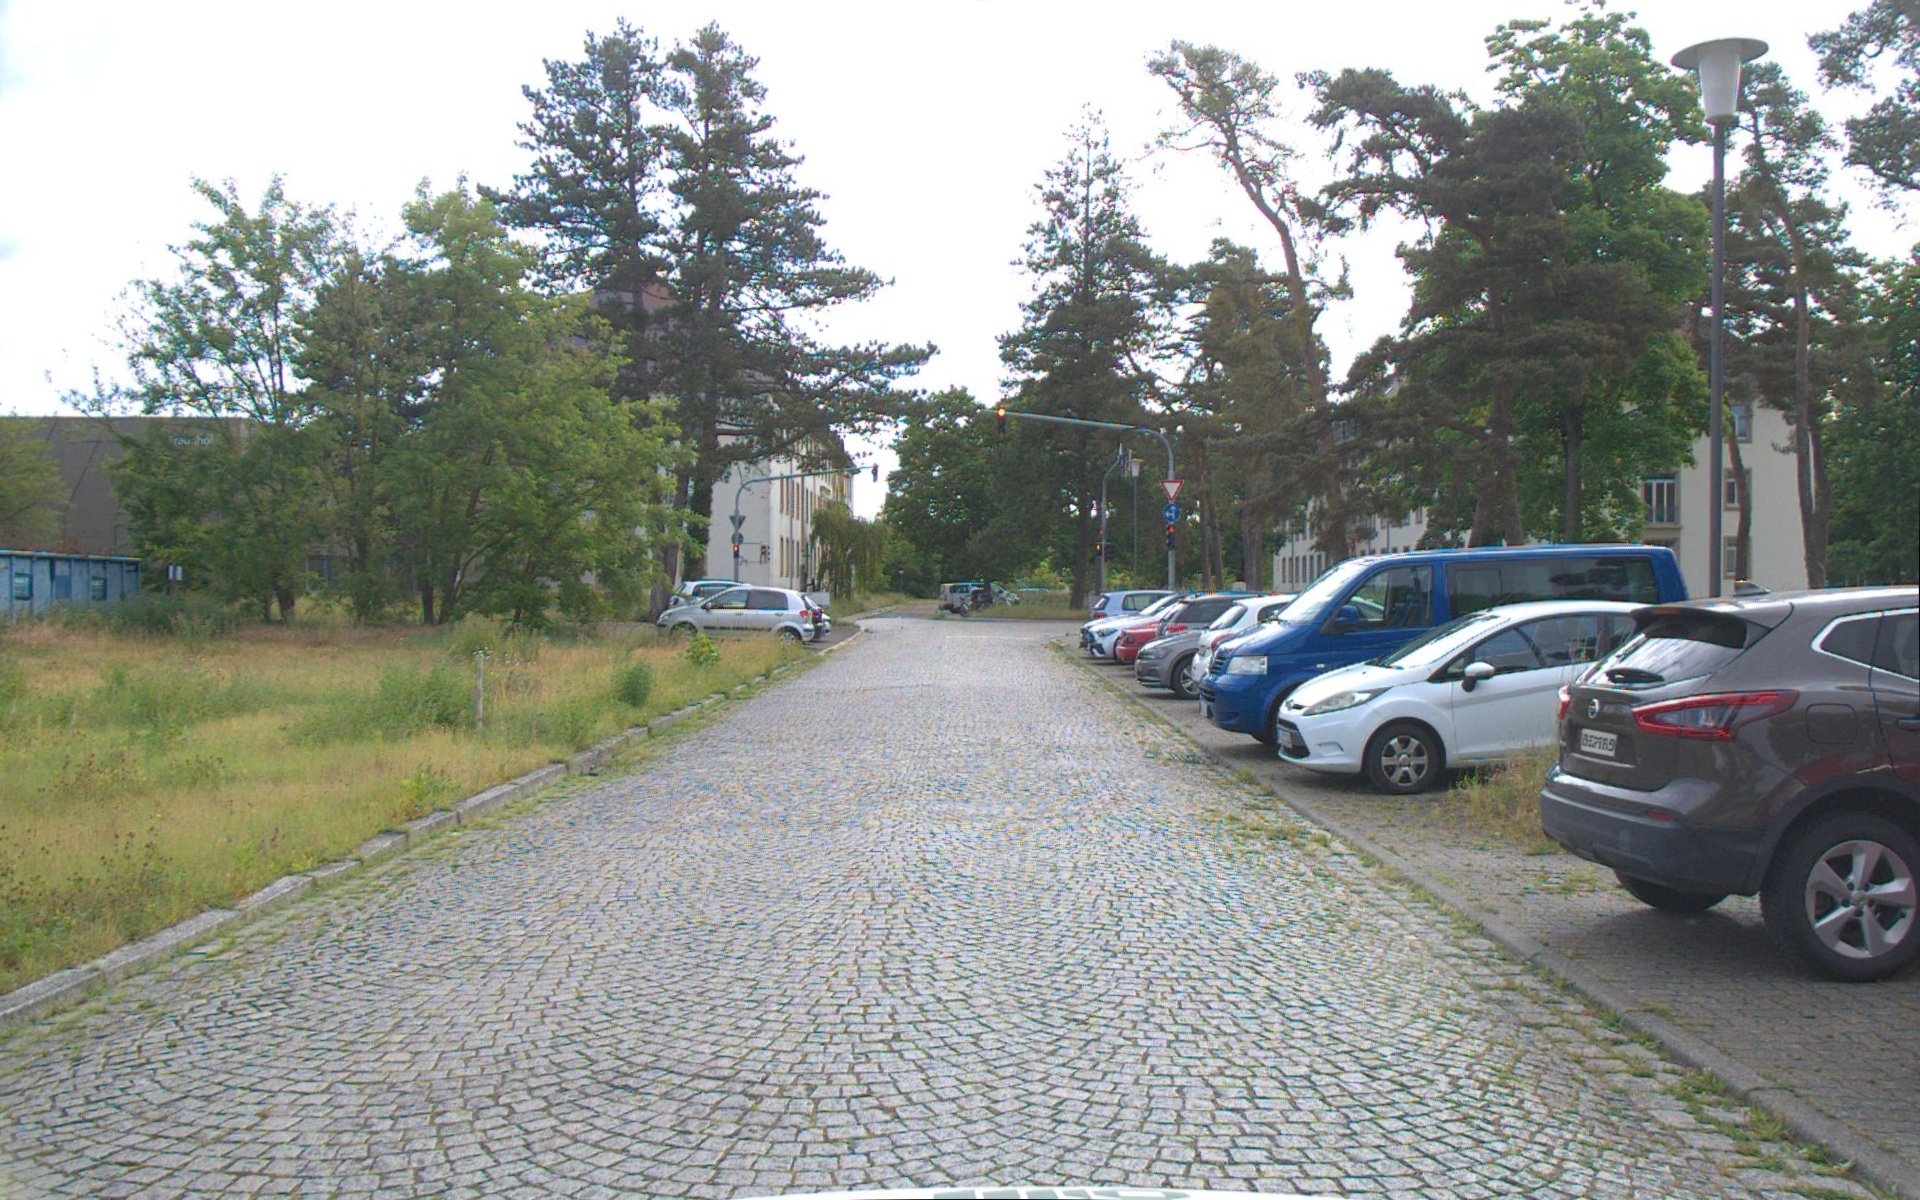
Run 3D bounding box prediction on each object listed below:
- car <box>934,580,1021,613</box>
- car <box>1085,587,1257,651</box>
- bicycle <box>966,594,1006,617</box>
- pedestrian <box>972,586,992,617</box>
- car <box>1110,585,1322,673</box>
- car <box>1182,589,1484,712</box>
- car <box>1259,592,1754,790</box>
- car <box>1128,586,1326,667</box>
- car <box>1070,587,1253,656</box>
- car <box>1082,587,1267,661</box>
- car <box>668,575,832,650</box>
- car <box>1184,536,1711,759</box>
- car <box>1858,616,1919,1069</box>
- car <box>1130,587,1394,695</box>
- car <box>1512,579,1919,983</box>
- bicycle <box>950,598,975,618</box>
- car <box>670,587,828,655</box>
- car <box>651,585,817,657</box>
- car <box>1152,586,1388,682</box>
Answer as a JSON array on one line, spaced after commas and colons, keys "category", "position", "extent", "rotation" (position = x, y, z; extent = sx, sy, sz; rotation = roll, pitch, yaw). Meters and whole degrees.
[{"category": "car", "position": [1.139, -0.228, 107.130], "extent": [5.345, 2.049, 2.264], "rotation": [1, 0, -9]}, {"category": "car", "position": [5.110, 0.443, 40.311], "extent": [3.890, 1.446, 1.618], "rotation": [-1, 0, -5]}, {"category": "bicycle", "position": [1.397, 0.304, 89.222], "extent": [2.095, 1.236, 0.621], "rotation": [1, 0, -5]}, {"category": "pedestrian", "position": [1.202, 0.091, 89.563], "extent": [1.013, 1.642, 0.757], "rotation": [1, 0, -5]}, {"category": "car", "position": [4.636, 0.514, 30.265], "extent": [3.598, 1.475, 1.523], "rotation": [-1, 0, -2]}, {"category": "car", "position": [4.851, 0.638, 21.793], "extent": [3.598, 1.475, 1.523], "rotation": [-1, 0, -2]}, {"category": "car", "position": [4.492, 0.713, 13.921], "extent": [3.598, 1.475, 1.614], "rotation": [-1, 0, -3]}, {"category": "car", "position": [5.209, 0.506, 32.553], "extent": [3.598, 1.475, 1.523], "rotation": [-1, 0, -2]}, {"category": "car", "position": [4.556, 0.478, 37.658], "extent": [3.890, 1.446, 1.618], "rotation": [-1, 0, -5]}, {"category": "car", "position": [4.477, 0.490, 34.802], "extent": [3.600, 1.446, 1.522], "rotation": [-1, 0, -5]}, {"category": "car", "position": [-5.619, 0.328, 44.595], "extent": [4.175, 1.872, 1.743], "rotation": [-1, 0, -1]}, {"category": "car", "position": [4.726, 0.440, 16.514], "extent": [4.658, 1.989, 1.930], "rotation": [-1, 0, -2]}, {"category": "car", "position": [5.002, 0.762, 4.906], "extent": [3.714, 1.485, 1.751], "rotation": [-1, 0, 0]}, {"category": "car", "position": [4.431, 0.587, 24.570], "extent": [3.598, 1.475, 1.523], "rotation": [-1, 0, -2]}, {"category": "car", "position": [4.800, 0.685, 7.545], "extent": [3.948, 1.579, 1.750], "rotation": [-1, 0, -3]}, {"category": "bicycle", "position": [0.125, 0.409, 85.147], "extent": [0.613, 0.961, 1.648], "rotation": [1, 0, -27]}, {"category": "car", "position": [-5.271, 0.511, 41.610], "extent": [3.744, 1.600, 1.564], "rotation": [-1, 0, -1]}, {"category": "car", "position": [-5.307, 0.487, 39.193], "extent": [3.746, 1.600, 1.563], "rotation": [-1, 0, -4]}, {"category": "car", "position": [5.111, 0.553, 27.562], "extent": [3.598, 1.475, 1.523], "rotation": [-1, 0, -2]}]
